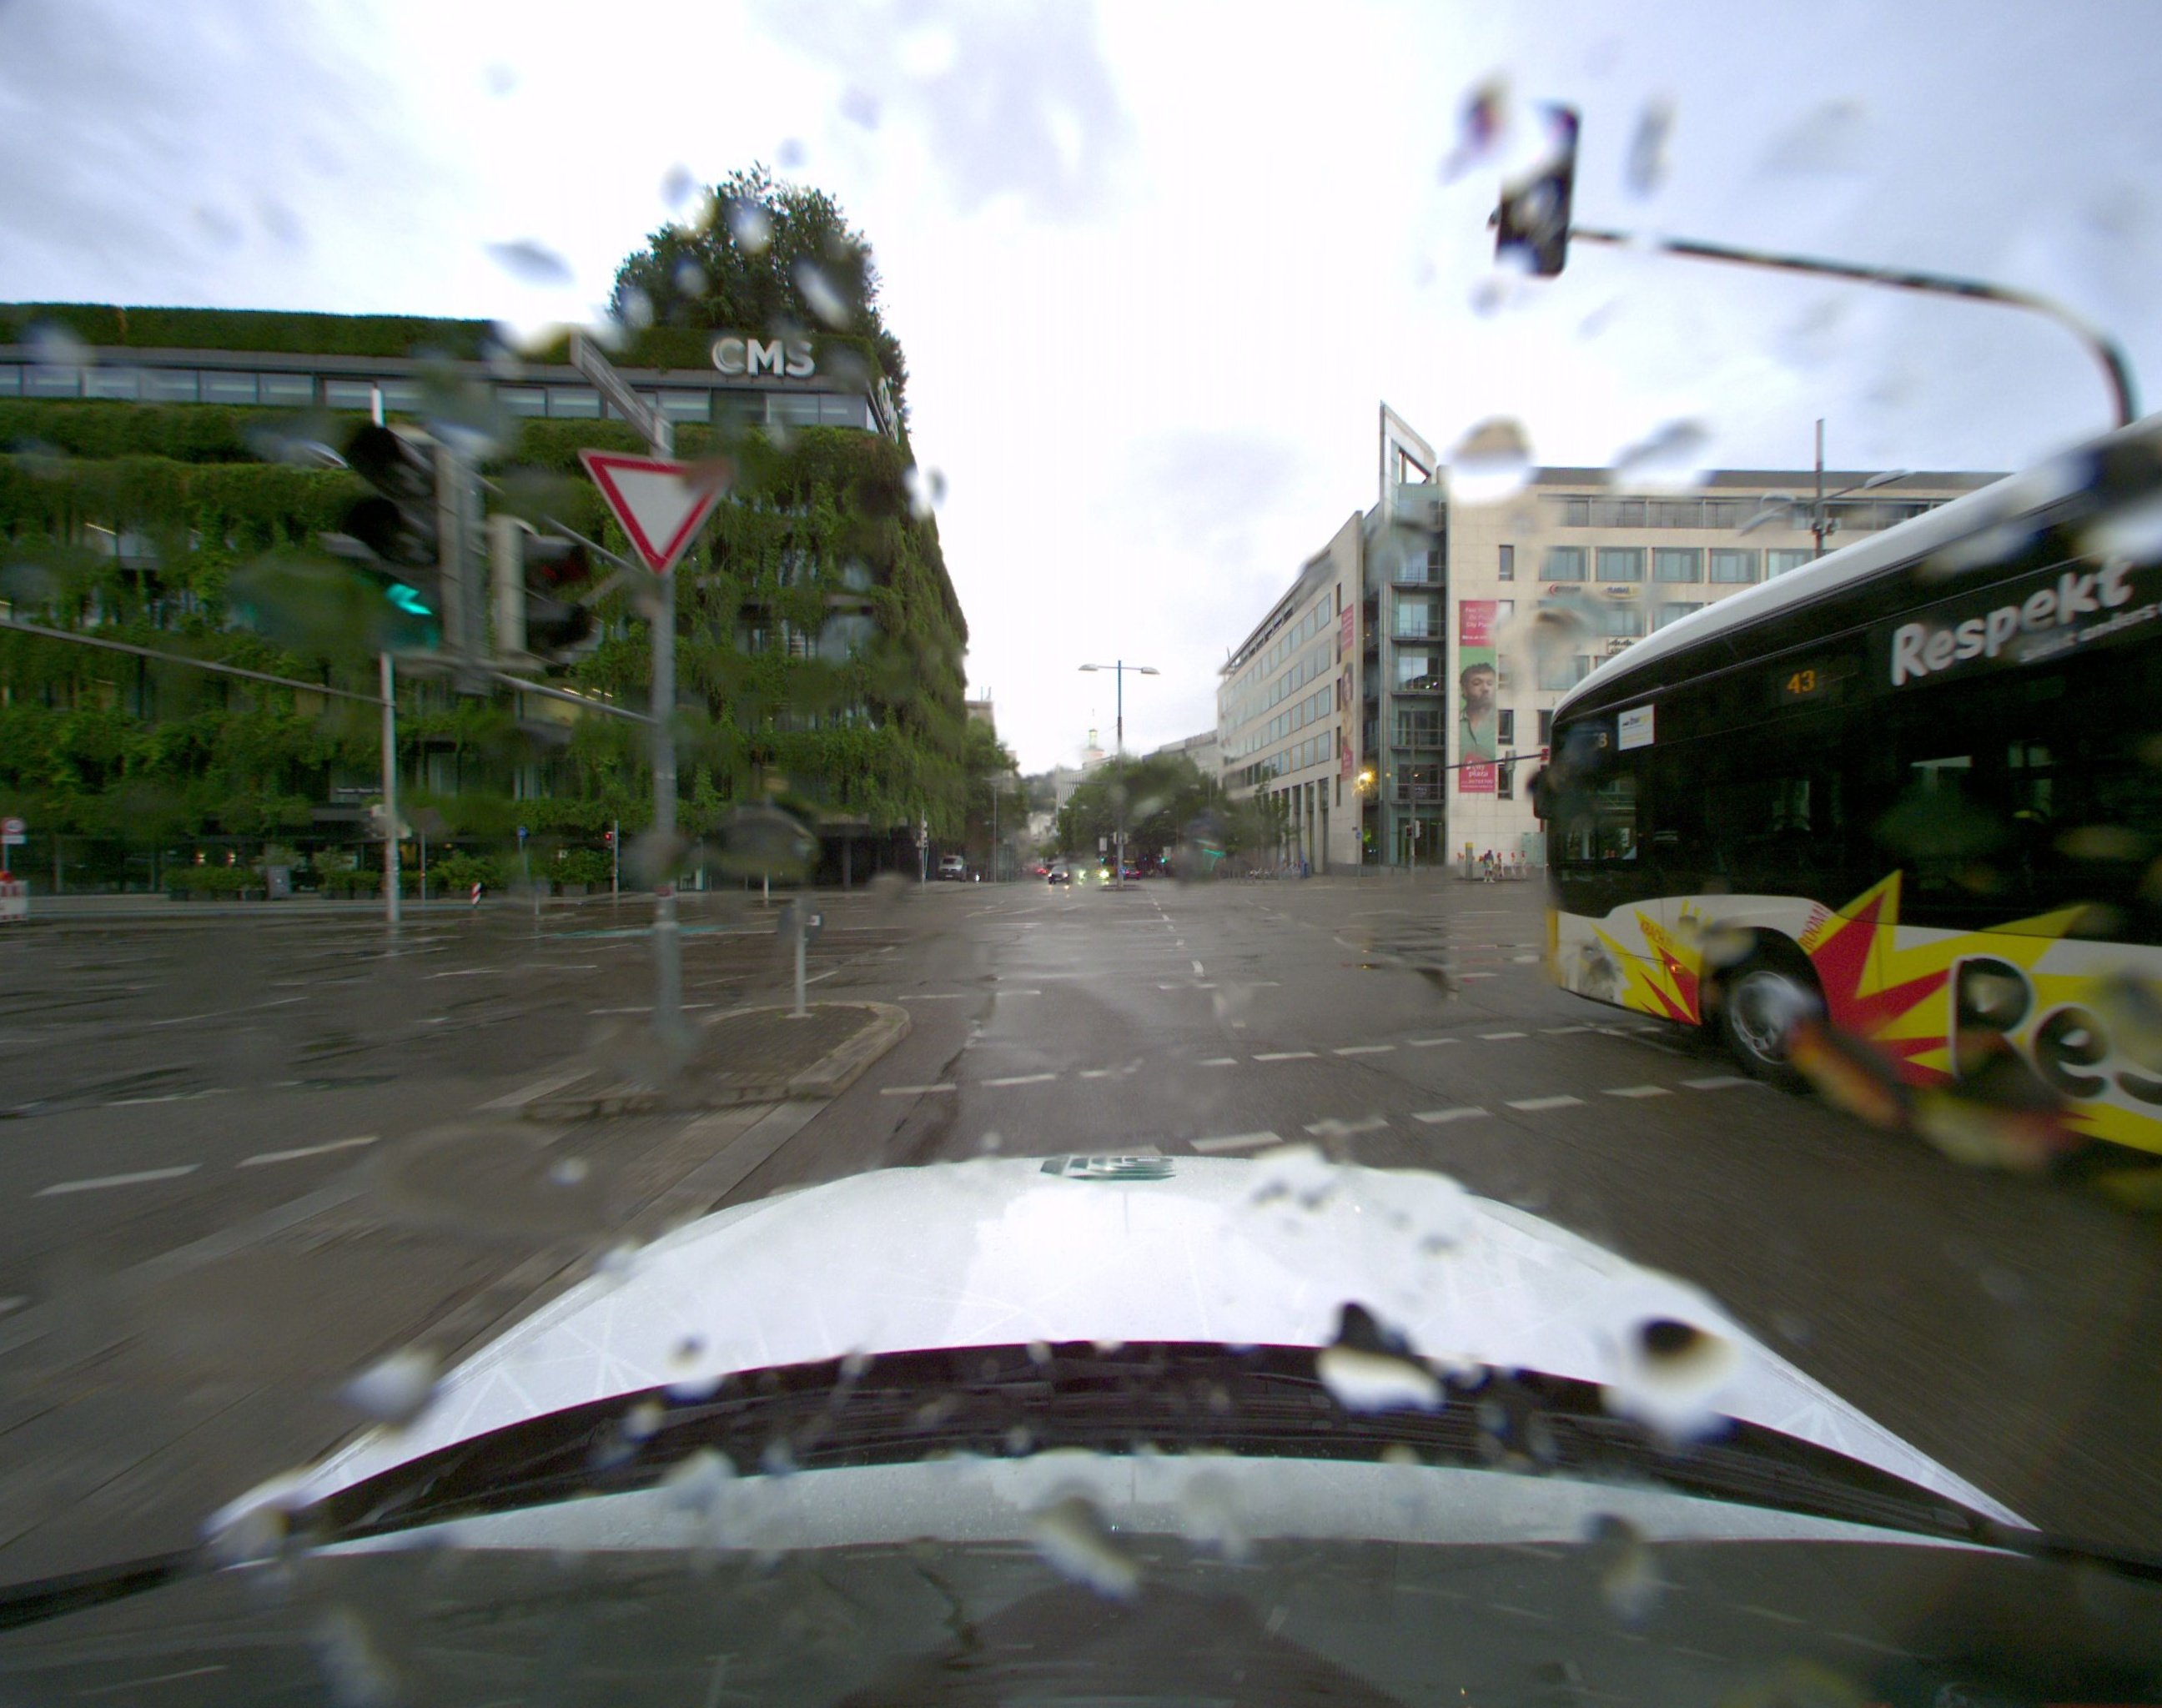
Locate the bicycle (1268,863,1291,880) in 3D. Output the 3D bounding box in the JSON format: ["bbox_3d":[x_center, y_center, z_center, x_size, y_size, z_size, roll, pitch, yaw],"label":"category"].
[{"bbox_3d":[14.637,1.304,60.092,0.588,1.194,1.768,1,-2,-26],"label":"bicycle"}]

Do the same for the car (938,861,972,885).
[{"bbox_3d":[-9.646,1.460,62.649,1.863,1.839,4.001,0,-1,2],"label":"car"}]

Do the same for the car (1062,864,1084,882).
[{"bbox_3d":[-0.790,1.925,83.549,2.158,1.765,5.109,0,-1,-1],"label":"car"}]

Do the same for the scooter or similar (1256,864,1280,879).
[{"bbox_3d":[14.823,1.405,64.677,1.770,1.194,0.587,0,-2,3],"label":"scooter or similar"}]

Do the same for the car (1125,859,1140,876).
[{"bbox_3d":[6.171,1.646,97.769,1.539,2.014,4.667,0,-1,0],"label":"car"}]

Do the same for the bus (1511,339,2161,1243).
[{"bbox_3d":[5.565,-0.242,3.188,2.872,3.451,9.760,0,-1,2],"label":"bus"}]

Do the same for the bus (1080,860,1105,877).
[{"bbox_3d":[2.019,2.546,147.168,2.631,2.995,7.414,-1,-1,-13],"label":"bus"}]

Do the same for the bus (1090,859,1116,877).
[{"bbox_3d":[3.701,2.419,139.974,2.631,2.995,7.414,-1,-1,-13],"label":"bus"}]

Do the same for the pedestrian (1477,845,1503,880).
[{"bbox_3d":[21.802,0.458,43.400,0.958,1.817,0.836,0,-2,1],"label":"pedestrian"}]

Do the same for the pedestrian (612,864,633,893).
[{"bbox_3d":[-21.286,1.123,37.813,0.612,1.311,0.598,-1,-1,-4],"label":"pedestrian"}]

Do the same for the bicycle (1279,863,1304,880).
[{"bbox_3d":[15.108,1.267,58.527,1.607,1.194,0.590,-1,-2,28],"label":"bicycle"}]

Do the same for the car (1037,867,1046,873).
[{"bbox_3d":[-8.721,3.532,179.552,1.775,1.508,4.001,0,-1,2],"label":"car"}]

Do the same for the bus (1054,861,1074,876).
[{"bbox_3d":[-3.485,2.907,167.464,2.631,2.995,7.293,-1,-1,-13],"label":"bus"}]

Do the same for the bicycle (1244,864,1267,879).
[{"bbox_3d":[14.214,1.448,66.484,1.770,1.194,0.587,0,-2,3],"label":"bicycle"}]

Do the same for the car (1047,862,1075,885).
[{"bbox_3d":[-1.566,1.549,65.572,2.158,1.765,5.109,0,-1,-1],"label":"car"}]

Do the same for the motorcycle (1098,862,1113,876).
[{"bbox_3d":[2.712,1.649,91.222,1.547,1.515,4.382,0,-1,-1],"label":"motorcycle"}]

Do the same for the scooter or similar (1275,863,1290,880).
[{"bbox_3d":[14.326,1.256,57.863,0.951,1.194,0.458,-2,-2,42],"label":"scooter or similar"}]

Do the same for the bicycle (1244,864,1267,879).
[{"bbox_3d":[14.390,1.461,67.115,1.770,1.194,0.587,0,-2,3],"label":"bicycle"}]

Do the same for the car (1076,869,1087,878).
[{"bbox_3d":[0.167,3.481,143.794,1.775,1.508,4.001,0,-1,2],"label":"car"}]

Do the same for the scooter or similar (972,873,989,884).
[{"bbox_3d":[-9.497,2.279,76.852,0.616,1.004,1.671,-1,-1,40],"label":"scooter or similar"}]

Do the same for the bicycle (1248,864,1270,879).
[{"bbox_3d":[14.858,1.479,68.021,1.770,1.194,0.587,0,-2,3],"label":"bicycle"}]

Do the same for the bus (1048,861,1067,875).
[{"bbox_3d":[-5.171,3.013,174.609,2.631,2.995,7.414,-1,-1,-13],"label":"bus"}]

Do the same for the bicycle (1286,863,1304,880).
[{"bbox_3d":[15.961,1.309,60.616,0.579,1.194,1.794,-2,-2,40],"label":"bicycle"}]

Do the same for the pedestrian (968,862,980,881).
[{"bbox_3d":[-9.363,1.565,71.607,0.930,1.644,0.774,0,-2,1],"label":"pedestrian"}]
